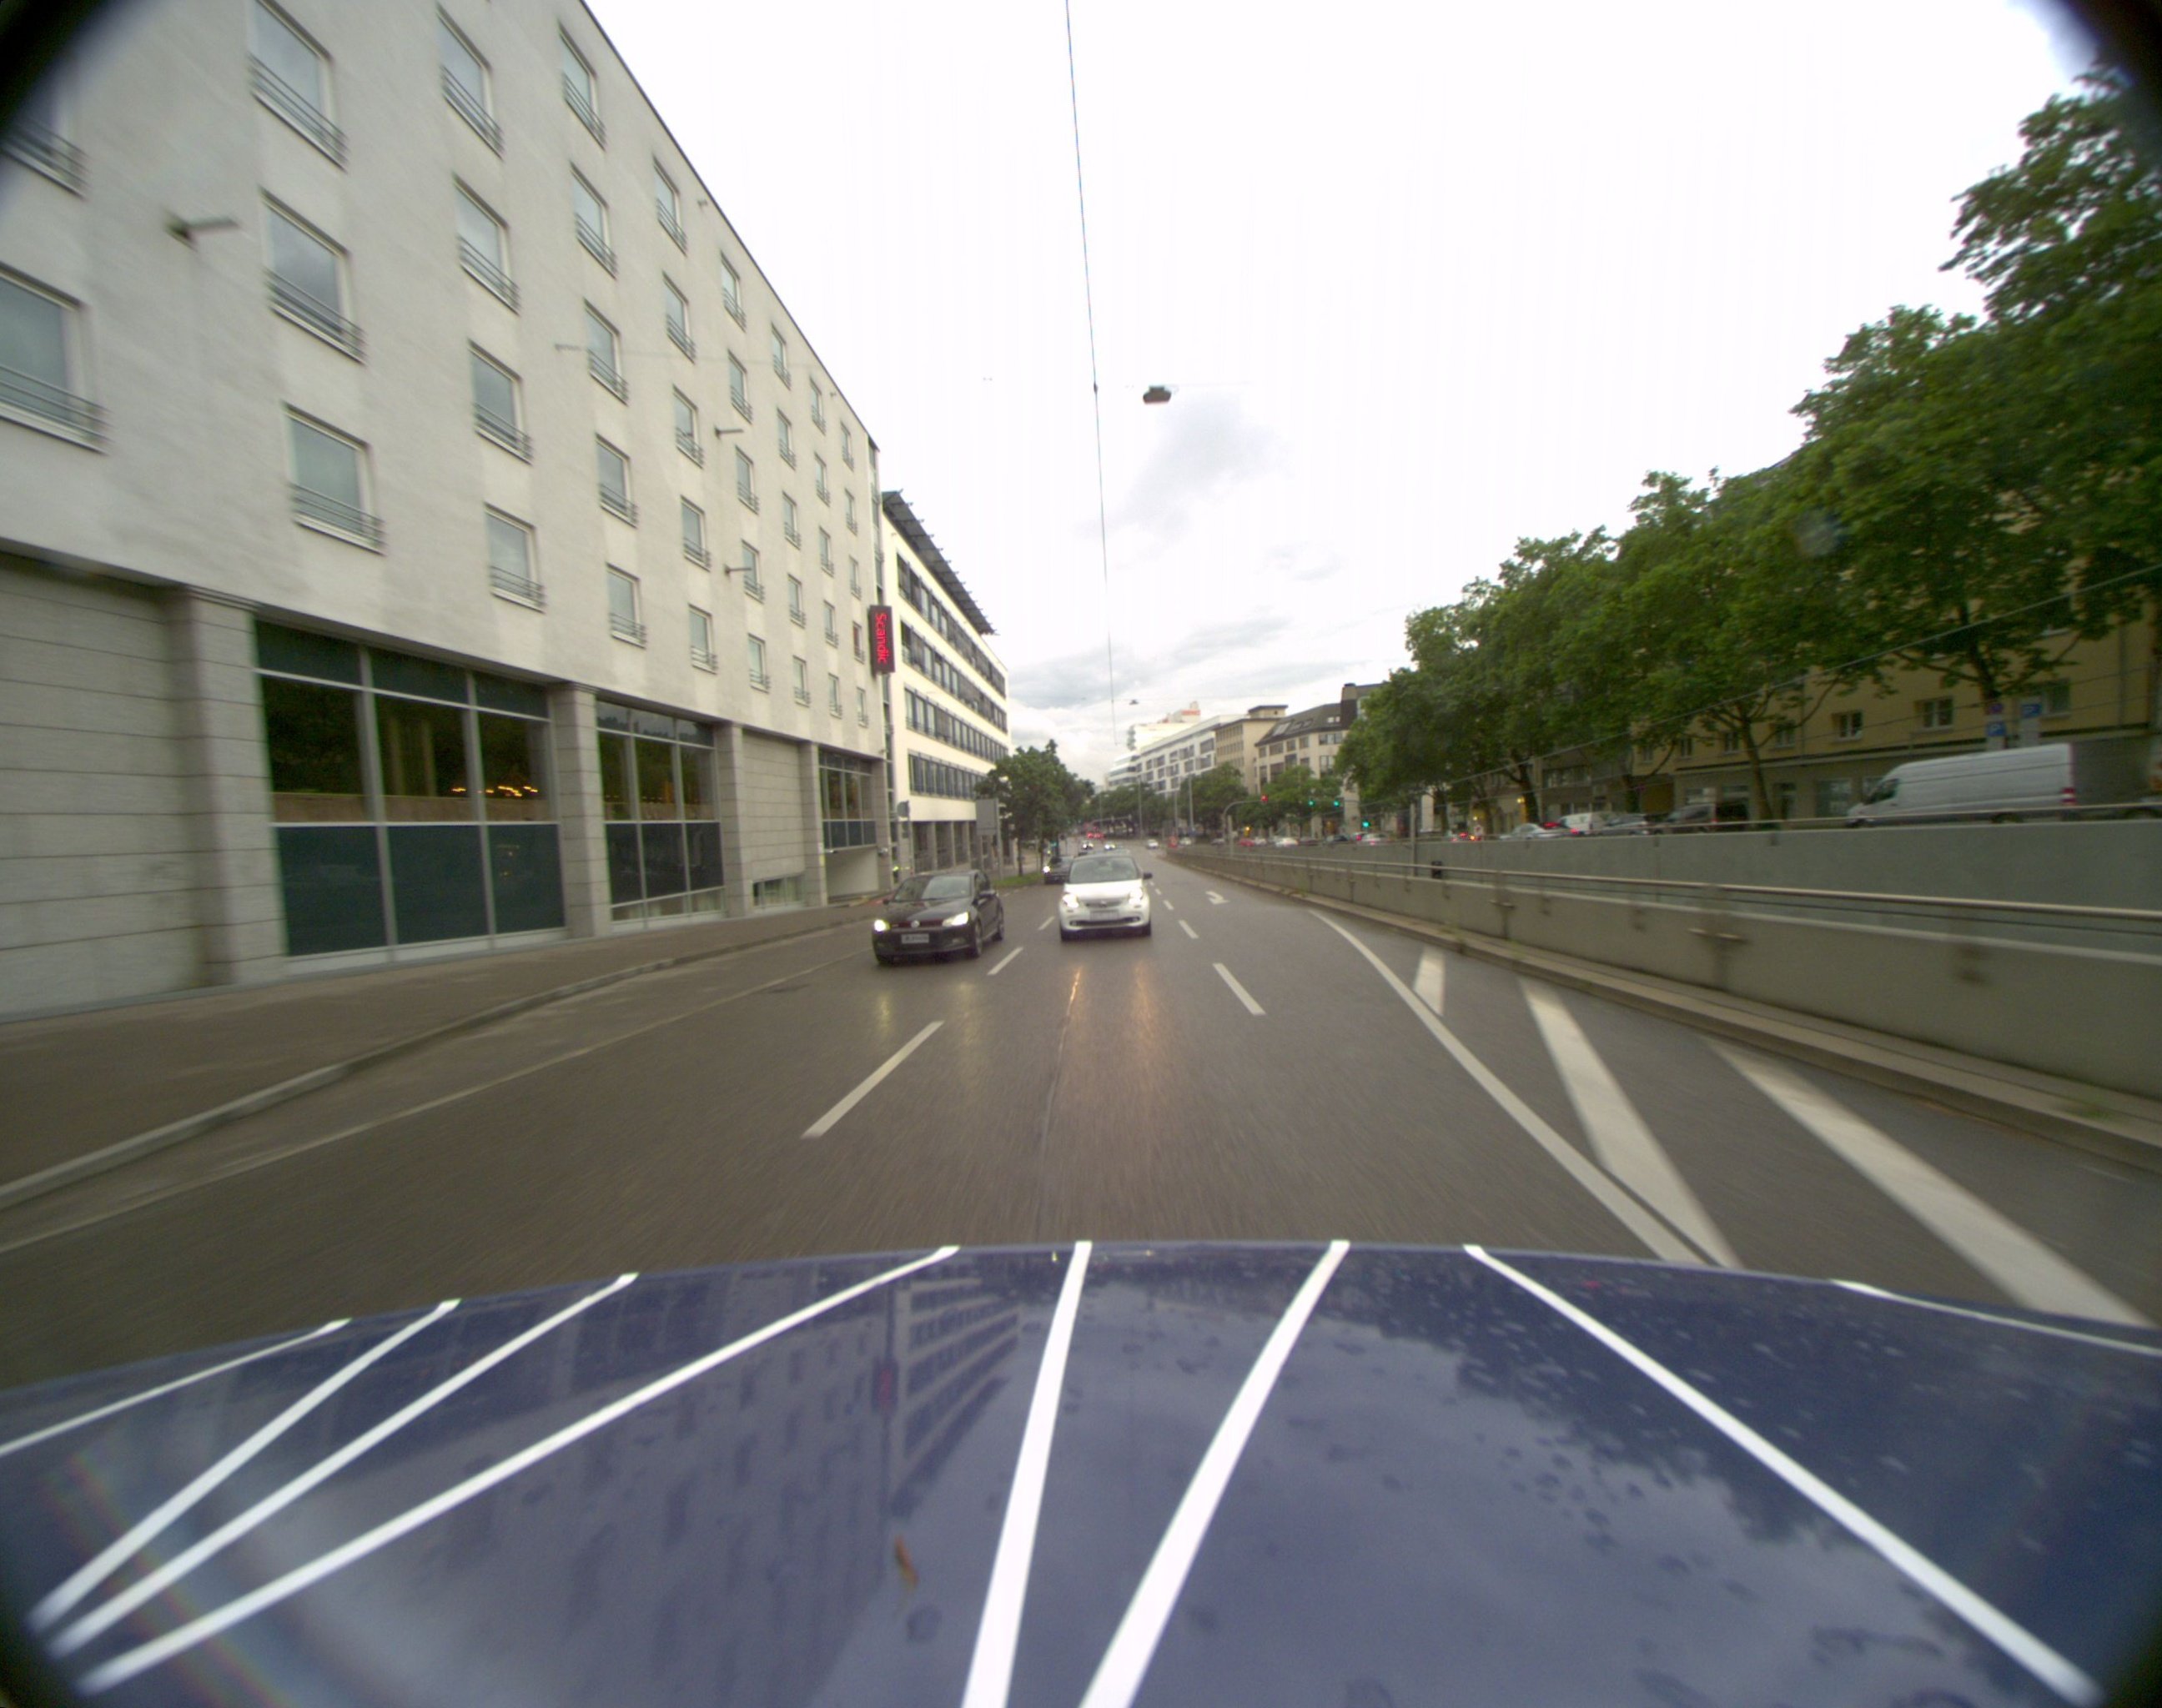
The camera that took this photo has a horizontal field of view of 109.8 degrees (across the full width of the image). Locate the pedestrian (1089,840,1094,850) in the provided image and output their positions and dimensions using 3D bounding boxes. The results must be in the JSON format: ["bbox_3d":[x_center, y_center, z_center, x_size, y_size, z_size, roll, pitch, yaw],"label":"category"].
[{"bbox_3d":[1.861,-1.560,131.237,0.604,1.792,0.587,-5,2,-4],"label":"pedestrian"}]

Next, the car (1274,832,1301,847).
[{"bbox_3d":[26.080,-1.862,96.031,1.799,1.760,4.729,-4,1,-3],"label":"car"}]

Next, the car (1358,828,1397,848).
[{"bbox_3d":[25.346,-1.380,65.106,1.850,1.501,4.823,-4,0,6],"label":"car"}]

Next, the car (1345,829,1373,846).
[{"bbox_3d":[29.411,-1.718,80.534,1.798,1.571,4.018,-4,0,5],"label":"car"}]

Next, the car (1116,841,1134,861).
[{"bbox_3d":[4.869,-0.319,84.649,1.798,2.021,4.000,-5,1,3],"label":"car"}]

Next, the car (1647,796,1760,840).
[{"bbox_3d":[28.428,-1.598,34.892,1.798,1.719,4.206,-4,0,3],"label":"car"}]

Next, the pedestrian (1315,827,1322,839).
[{"bbox_3d":[38.054,-3.379,121.777,0.835,1.775,0.616,-5,2,-4],"label":"pedestrian"}]

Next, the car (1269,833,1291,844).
[{"bbox_3d":[31.033,-2.427,118.589,1.800,1.502,3.939,-5,1,-9],"label":"car"}]

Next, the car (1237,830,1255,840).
[{"bbox_3d":[24.527,-2.779,112.995,1.589,1.393,3.878,-4,1,-5],"label":"car"}]

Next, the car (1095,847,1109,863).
[{"bbox_3d":[2.891,0.124,106.299,1.799,1.934,3.999,-5,1,0],"label":"car"}]

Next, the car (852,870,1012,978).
[{"bbox_3d":[-2.425,1.100,13.364,1.677,1.391,3.850,-4,1,5],"label":"car"}]

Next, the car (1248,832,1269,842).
[{"bbox_3d":[27.365,-2.639,117.456,1.800,1.502,3.996,-4,1,-8],"label":"car"}]

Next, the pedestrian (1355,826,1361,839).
[{"bbox_3d":[40.310,-3.137,110.656,0.590,1.799,0.674,-4,2,10],"label":"pedestrian"}]

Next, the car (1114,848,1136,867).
[{"bbox_3d":[3.990,0.292,69.466,1.798,1.502,4.000,-5,1,3],"label":"car"}]

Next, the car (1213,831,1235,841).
[{"bbox_3d":[23.561,-2.943,125.358,1.800,1.549,4.830,-4,1,-10],"label":"car"}]

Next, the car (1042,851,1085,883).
[{"bbox_3d":[-0.891,0.654,40.696,1.750,1.433,3.707,-5,1,5],"label":"car"}]

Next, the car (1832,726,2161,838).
[{"bbox_3d":[27.426,-1.953,23.194,2.458,2.647,6.933,-4,0,5],"label":"car"}]

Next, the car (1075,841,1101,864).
[{"bbox_3d":[0.621,-0.161,65.372,1.798,1.657,4.000,-5,1,5],"label":"car"}]

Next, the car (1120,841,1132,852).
[{"bbox_3d":[8.176,-1.380,137.305,1.799,1.934,3.999,-5,1,1],"label":"car"}]

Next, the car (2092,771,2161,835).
[{"bbox_3d":[26.490,-1.274,16.959,1.798,1.501,4.673,-4,0,5],"label":"car"}]

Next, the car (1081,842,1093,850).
[{"bbox_3d":[1.260,-1.690,163.396,1.800,1.502,3.996,-5,1,-9],"label":"car"}]

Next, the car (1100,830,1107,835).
[{"bbox_3d":[7.672,-7.329,260.248,1.800,1.502,3.996,-5,1,-9],"label":"car"}]

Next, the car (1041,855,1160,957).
[{"bbox_3d":[0.445,0.826,13.968,1.798,1.528,4.001,-3,0,4],"label":"car"}]

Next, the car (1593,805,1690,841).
[{"bbox_3d":[29.116,-1.574,39.657,1.881,1.574,4.474,-4,0,4],"label":"car"}]

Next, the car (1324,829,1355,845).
[{"bbox_3d":[26.350,-1.713,77.600,1.798,1.502,4.344,-3,1,4],"label":"car"}]

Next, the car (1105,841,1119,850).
[{"bbox_3d":[6.148,-1.690,150.954,1.800,1.502,3.996,-5,1,-9],"label":"car"}]

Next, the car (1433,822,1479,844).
[{"bbox_3d":[28.180,-1.541,57.176,1.850,1.501,4.018,-4,0,8],"label":"car"}]

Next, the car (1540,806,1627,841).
[{"bbox_3d":[29.636,-1.742,45.022,1.881,1.754,4.901,-4,0,1],"label":"car"}]

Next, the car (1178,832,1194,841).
[{"bbox_3d":[20.058,-3.315,145.171,1.800,1.552,3.995,-4,1,-11],"label":"car"}]

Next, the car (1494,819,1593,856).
[{"bbox_3d":[21.843,-0.745,36.124,2.030,1.501,4.884,-4,0,6],"label":"car"}]

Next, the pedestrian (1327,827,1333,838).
[{"bbox_3d":[38.635,-3.354,117.904,0.604,1.775,0.526,-5,2,-4],"label":"pedestrian"}]

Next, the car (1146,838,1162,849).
[{"bbox_3d":[13.201,-1.883,138.078,1.800,1.734,3.996,-5,1,-9],"label":"car"}]

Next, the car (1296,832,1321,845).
[{"bbox_3d":[29.488,-2.034,98.559,1.799,1.502,3.998,-5,1,-4],"label":"car"}]
